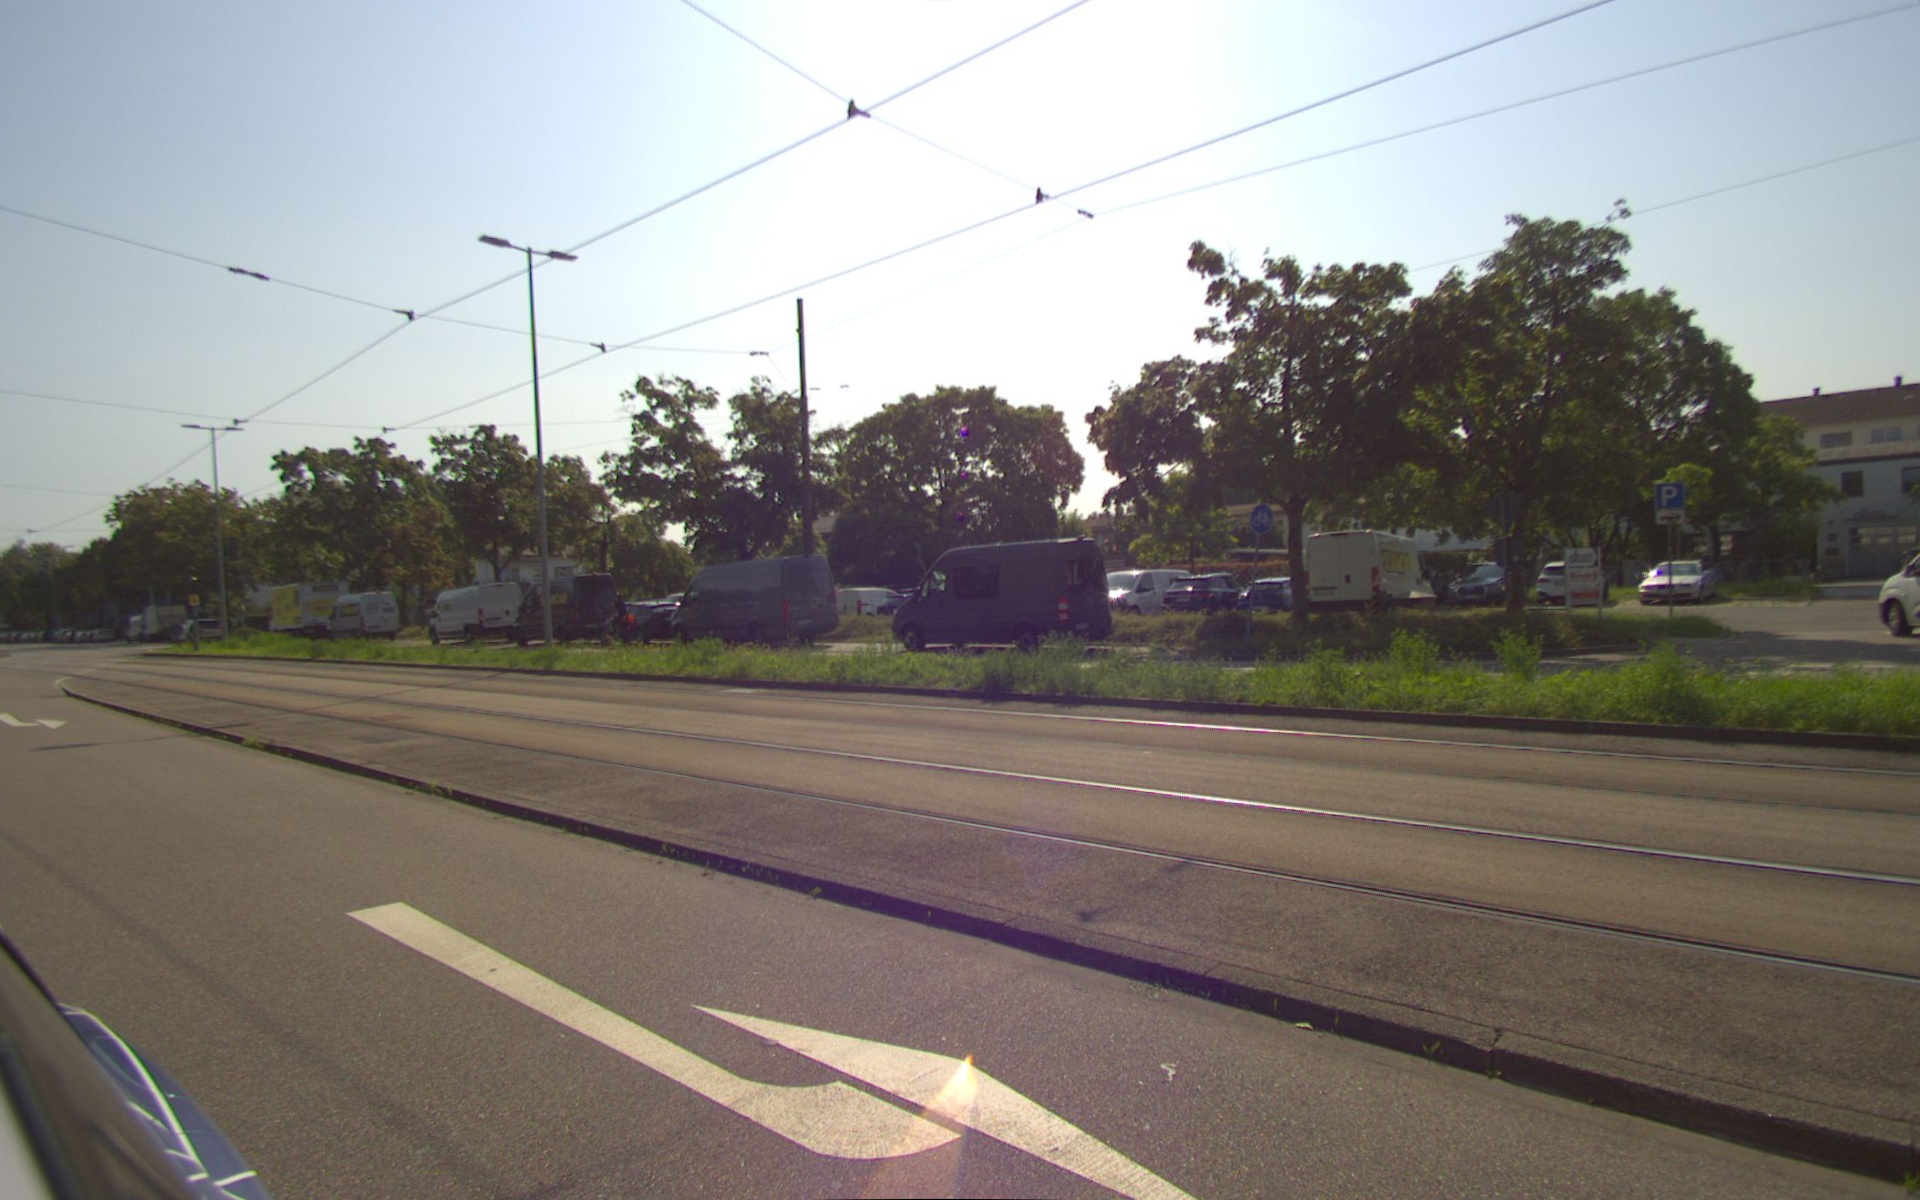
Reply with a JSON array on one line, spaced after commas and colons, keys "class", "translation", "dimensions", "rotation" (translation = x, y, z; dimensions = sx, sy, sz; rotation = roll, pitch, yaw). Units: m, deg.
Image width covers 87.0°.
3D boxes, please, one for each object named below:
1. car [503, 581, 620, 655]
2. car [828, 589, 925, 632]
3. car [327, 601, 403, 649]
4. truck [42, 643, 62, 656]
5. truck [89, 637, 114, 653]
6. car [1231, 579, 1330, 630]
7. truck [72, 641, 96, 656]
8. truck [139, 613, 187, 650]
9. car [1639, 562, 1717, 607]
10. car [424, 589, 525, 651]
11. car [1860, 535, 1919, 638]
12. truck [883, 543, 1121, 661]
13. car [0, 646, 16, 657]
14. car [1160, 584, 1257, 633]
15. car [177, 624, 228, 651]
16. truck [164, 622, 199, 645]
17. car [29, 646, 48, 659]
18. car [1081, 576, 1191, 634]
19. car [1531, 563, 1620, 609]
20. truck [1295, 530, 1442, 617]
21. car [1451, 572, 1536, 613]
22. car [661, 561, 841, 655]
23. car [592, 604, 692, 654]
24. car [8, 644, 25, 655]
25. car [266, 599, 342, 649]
[{"class": "car", "translation": [-15.694, 0.746, 39.631], "dimensions": [5.910, 2.605, 1.802], "rotation": [-3, 1, 43]}, {"class": "car", "translation": [-3.507, 0.419, 42.963], "dimensions": [1.745, 1.707, 3.945], "rotation": [-3, -1, 42]}, {"class": "car", "translation": [-32.203, 1.386, 54.698], "dimensions": [4.829, 2.477, 2.120], "rotation": [-2, -1, 41]}, {"class": "truck", "translation": [-121.421, 6.647, 135.282], "dimensions": [3.655, 1.687, 1.669], "rotation": [-3, -1, 43]}, {"class": "truck", "translation": [-93.722, 4.927, 110.492], "dimensions": [3.655, 1.687, 1.669], "rotation": [-3, -1, 43]}, {"class": "car", "translation": [9.650, 0.136, 30.338], "dimensions": [1.632, 1.437, 3.369], "rotation": [-2, -1, 41]}, {"class": "truck", "translation": [-100.990, 5.596, 116.659], "dimensions": [3.655, 1.687, 1.669], "rotation": [-3, -1, 43]}, {"class": "truck", "translation": [-71.279, 2.848, 90.437], "dimensions": [8.790, 3.145, 2.247], "rotation": [-3, -2, 45]}, {"class": "car", "translation": [24.182, -0.540, 34.032], "dimensions": [3.491, 1.353, 1.492], "rotation": [-3, 0, -44]}, {"class": "car", "translation": [-21.715, 0.931, 45.146], "dimensions": [5.630, 2.606, 2.109], "rotation": [-3, -1, 43]}, {"class": "car", "translation": [17.167, -0.270, 16.436], "dimensions": [1.972, 1.771, 4.397], "rotation": [-3, 0, 16]}, {"class": "truck", "translation": [0.879, 0.124, 24.637], "dimensions": [5.737, 2.567, 2.059], "rotation": [-2, -1, 42]}, {"class": "car", "translation": [-140.533, 7.624, 149.335], "dimensions": [3.454, 1.596, 1.530], "rotation": [-2, -1, 41]}, {"class": "car", "translation": [7.945, 0.257, 32.188], "dimensions": [1.632, 1.437, 3.369], "rotation": [-2, -1, 41]}, {"class": "car", "translation": [-45.974, 2.273, 61.408], "dimensions": [3.950, 1.531, 1.903], "rotation": [-3, -1, 45]}, {"class": "truck", "translation": [-64.752, 2.783, 84.188], "dimensions": [3.969, 1.786, 1.669], "rotation": [-3, -1, 43]}, {"class": "car", "translation": [-126.542, 7.184, 138.939], "dimensions": [3.644, 1.782, 1.530], "rotation": [-2, -1, 41]}, {"class": "car", "translation": [5.974, 0.161, 33.994], "dimensions": [1.632, 1.798, 4.353], "rotation": [-2, -1, 40]}, {"class": "car", "translation": [21.897, -0.482, 35.960], "dimensions": [3.406, 1.514, 1.878], "rotation": [-1, -1, -44]}, {"class": "truck", "translation": [11.798, -0.684, 28.971], "dimensions": [2.258, 2.189, 5.433], "rotation": [-2, -1, 40]}, {"class": "car", "translation": [19.905, -0.276, 37.704], "dimensions": [3.661, 1.353, 1.493], "rotation": [-3, 0, -41]}, {"class": "car", "translation": [-6.582, 0.304, 31.277], "dimensions": [6.467, 2.605, 1.967], "rotation": [-3, 1, 43]}, {"class": "car", "translation": [-11.222, 1.026, 35.600], "dimensions": [3.835, 1.563, 1.725], "rotation": [-3, 1, 45]}, {"class": "car", "translation": [-135.752, 7.137, 145.598], "dimensions": [3.454, 1.596, 1.530], "rotation": [-2, -1, 41]}, {"class": "car", "translation": [-39.584, 1.484, 60.979], "dimensions": [7.230, 2.826, 2.101], "rotation": [-3, -1, 43]}]
